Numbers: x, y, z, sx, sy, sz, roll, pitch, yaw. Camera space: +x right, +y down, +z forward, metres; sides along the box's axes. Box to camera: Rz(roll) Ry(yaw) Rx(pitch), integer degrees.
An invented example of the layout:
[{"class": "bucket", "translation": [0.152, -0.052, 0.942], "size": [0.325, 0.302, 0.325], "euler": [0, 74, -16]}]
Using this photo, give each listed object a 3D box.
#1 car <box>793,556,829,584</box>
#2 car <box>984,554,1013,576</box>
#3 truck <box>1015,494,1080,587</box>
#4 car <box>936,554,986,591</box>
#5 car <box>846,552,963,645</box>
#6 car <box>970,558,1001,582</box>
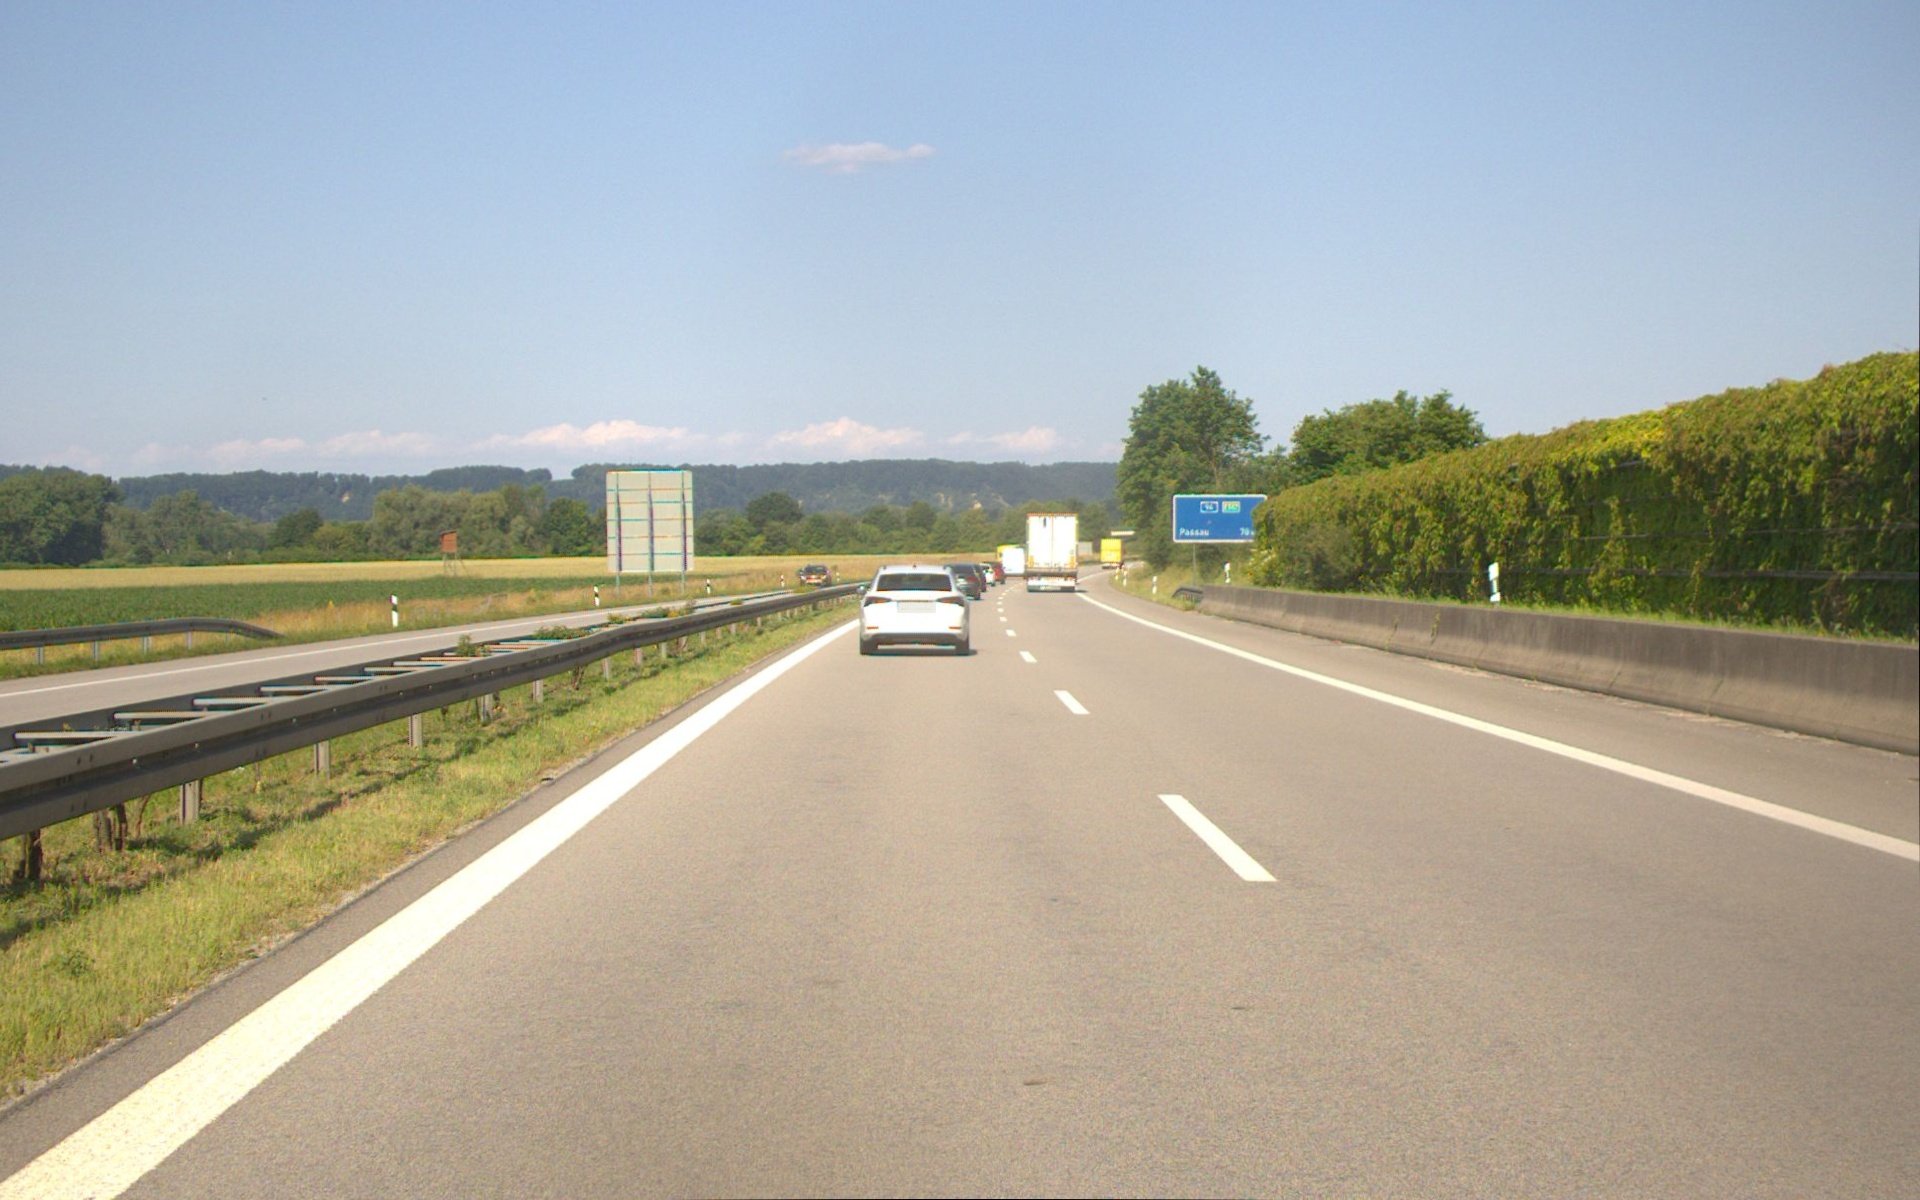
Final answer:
[{"class": "car", "translation": [-9.590, -1.951, 221.977], "size": [1.993, 1.656, 4.775], "euler": [-3, 1, 1]}, {"class": "car", "translation": [2.604, -2.369, 231.883], "size": [1.771, 1.416, 4.364], "euler": [0, 1, 3]}, {"class": "truck", "translation": [4.489, -3.084, 176.649], "size": [3.152, 4.596, 8.905], "euler": [-1, 1, 1]}, {"class": "car", "translation": [0.053, -1.123, 136.831], "size": [1.771, 1.416, 4.495], "euler": [0, 1, 3]}, {"class": "car", "translation": [-0.875, -0.060, 56.566], "size": [1.840, 1.416, 5.255], "euler": [0, 1, 0]}, {"class": "car", "translation": [1.582, -1.851, 213.345], "size": [1.771, 1.416, 4.364], "euler": [0, 1, 2]}]
